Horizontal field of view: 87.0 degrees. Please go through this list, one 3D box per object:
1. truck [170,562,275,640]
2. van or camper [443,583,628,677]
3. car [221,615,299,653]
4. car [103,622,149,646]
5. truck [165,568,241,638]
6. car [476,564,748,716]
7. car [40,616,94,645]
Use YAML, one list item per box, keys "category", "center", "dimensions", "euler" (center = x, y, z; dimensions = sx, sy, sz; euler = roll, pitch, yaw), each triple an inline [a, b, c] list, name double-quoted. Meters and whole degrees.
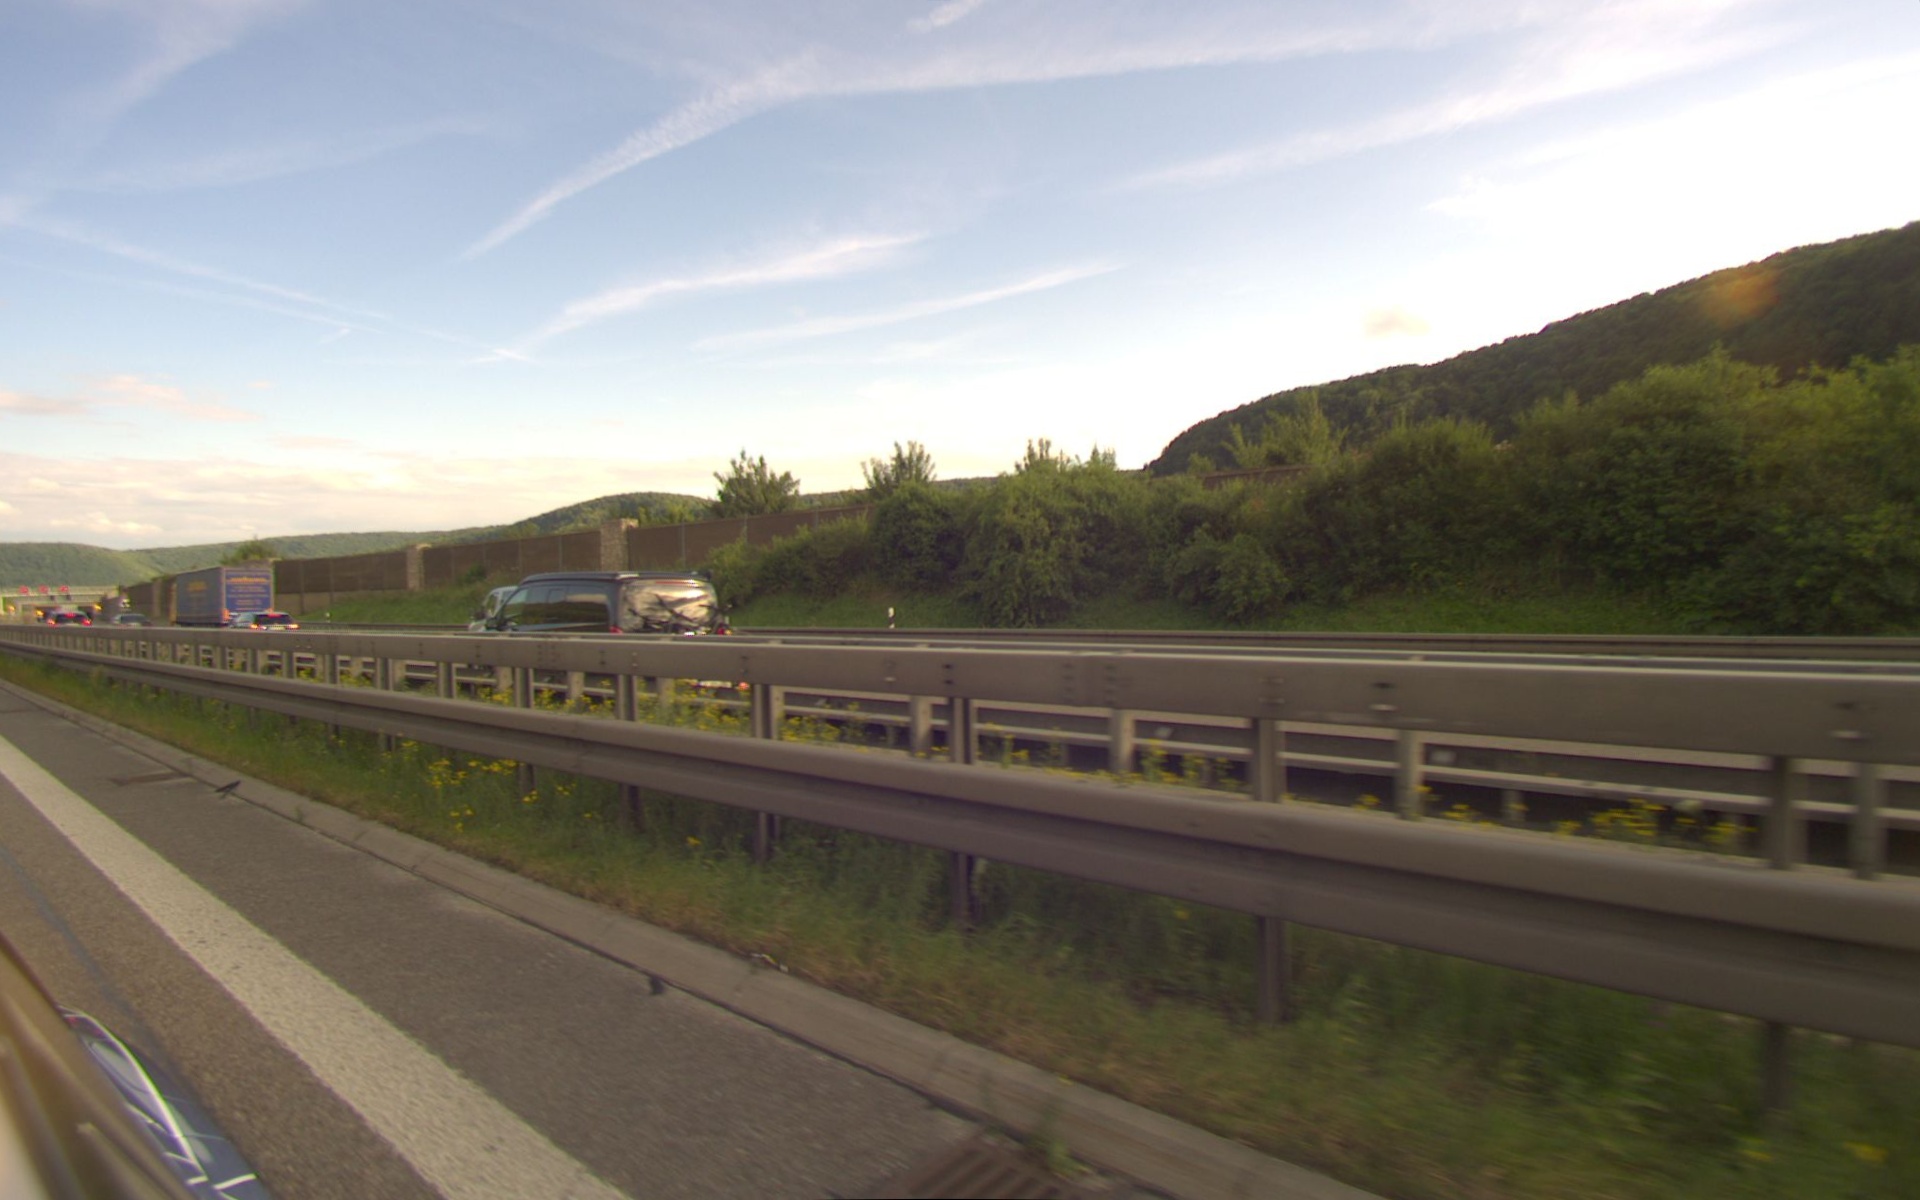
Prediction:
- category: "truck"
  center: [-45.472, 0.176, 62.130]
  dimensions: [14.680, 4.311, 2.621]
  euler: [-1, -1, 44]
- category: "van or camper"
  center: [-9.987, 0.670, 23.583]
  dimensions: [5.399, 1.954, 1.829]
  euler: [-1, -1, 42]
- category: "car"
  center: [-28.025, 1.333, 40.479]
  dimensions: [3.999, 1.407, 1.666]
  euler: [-1, -1, 42]
- category: "car"
  center: [-52.829, 2.148, 64.080]
  dimensions: [3.999, 1.407, 1.666]
  euler: [-1, -1, 42]
- category: "truck"
  center: [-49.258, 0.237, 65.778]
  dimensions: [8.168, 4.292, 2.621]
  euler: [-1, -1, 44]
- category: "car"
  center: [-5.221, 0.535, 14.907]
  dimensions: [4.343, 1.906, 1.909]
  euler: [-1, -1, 42]
- category: "car"
  center: [-46.718, 1.584, 52.941]
  dimensions: [3.999, 1.470, 1.666]
  euler: [-1, -1, 42]
